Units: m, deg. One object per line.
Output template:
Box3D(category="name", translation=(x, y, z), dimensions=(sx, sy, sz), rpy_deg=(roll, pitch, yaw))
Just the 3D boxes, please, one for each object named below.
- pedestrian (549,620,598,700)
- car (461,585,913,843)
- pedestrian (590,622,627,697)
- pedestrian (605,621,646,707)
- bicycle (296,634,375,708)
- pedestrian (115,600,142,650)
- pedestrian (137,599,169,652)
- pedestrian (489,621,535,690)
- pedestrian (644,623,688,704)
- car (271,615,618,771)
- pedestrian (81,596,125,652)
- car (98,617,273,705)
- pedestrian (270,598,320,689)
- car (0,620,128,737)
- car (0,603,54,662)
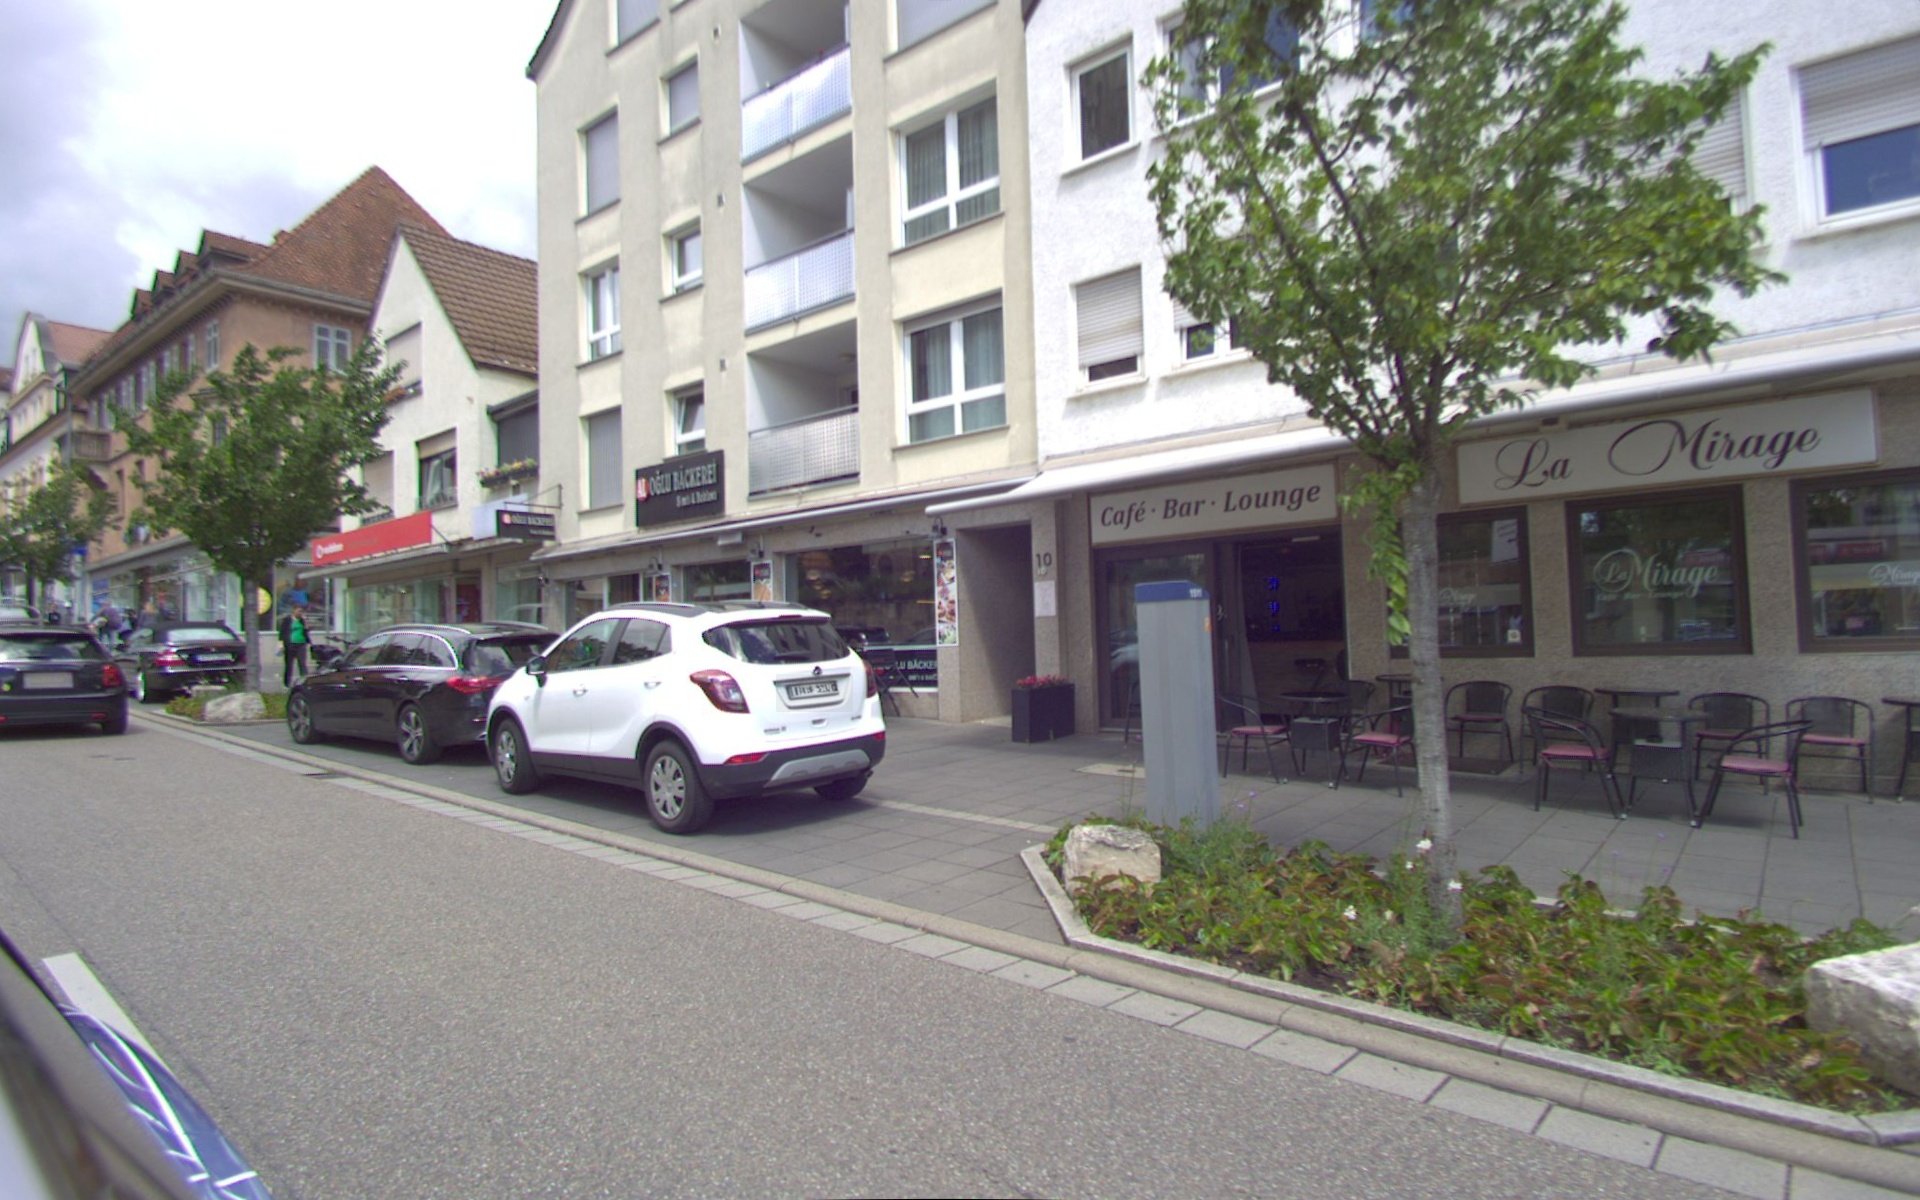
Box3D(category="pedestrian", translation=(-6.418, 0.978, 16.803), dimensions=(0.598, 1.277, 0.544), rpy_deg=(-1, -1, 39))
Box3D(category="car", translation=(-2.458, 0.759, 8.498), dimensions=(4.132, 1.659, 1.648), rpy_deg=(-1, 0, 41))
Box3D(category="pedestrian", translation=(-5.995, 1.002, 17.257), dimensions=(0.499, 1.259, 0.391), rpy_deg=(-2, -1, 39))
Box3D(category="pedestrian", translation=(-5.237, 0.996, 15.843), dimensions=(0.453, 1.309, 0.417), rpy_deg=(-2, -1, 39))
Box3D(category="bicycle", translation=(-10.337, 1.143, 16.727), dimensions=(1.905, 1.115, 0.479), rpy_deg=(0, 0, 38))
Box3D(category="pedestrian", translation=(-25.019, 0.750, 30.450), dimensions=(0.527, 1.489, 0.491), rpy_deg=(0, 0, 37))
Box3D(category="pedestrian", translation=(-24.652, 0.760, 30.928), dimensions=(0.641, 1.594, 0.608), rpy_deg=(0, 0, 37))
Box3D(category="pedestrian", translation=(-8.478, 1.035, 19.152), dimensions=(0.598, 1.256, 0.590), rpy_deg=(-1, -1, 39))
Box3D(category="pedestrian", translation=(-4.706, 1.004, 16.218), dimensions=(0.566, 1.259, 0.423), rpy_deg=(-2, -1, 39))
Box3D(category="car", translation=(-6.169, 0.932, 11.907), dimensions=(4.507, 1.462, 1.823), rpy_deg=(0, 0, 37))
Box3D(category="pedestrian", translation=(-26.683, 0.736, 31.511), dimensions=(0.905, 1.679, 0.862), rpy_deg=(0, 0, 37))
Box3D(category="car", translation=(-14.487, 1.045, 18.841), dimensions=(4.440, 1.403, 1.640), rpy_deg=(0, -1, 40))
Box3D(category="pedestrian", translation=(-13.245, 0.848, 20.153), dimensions=(0.778, 1.774, 0.653), rpy_deg=(0, -1, 43))
Box3D(category="car", translation=(-12.670, 0.985, 13.638), dimensions=(3.626, 1.399, 1.590), rpy_deg=(-1, -3, 40))
Box3D(category="car", translation=(-27.906, 0.881, 29.255), dimensions=(4.447, 1.585, 1.709), rpy_deg=(0, 0, 37))
